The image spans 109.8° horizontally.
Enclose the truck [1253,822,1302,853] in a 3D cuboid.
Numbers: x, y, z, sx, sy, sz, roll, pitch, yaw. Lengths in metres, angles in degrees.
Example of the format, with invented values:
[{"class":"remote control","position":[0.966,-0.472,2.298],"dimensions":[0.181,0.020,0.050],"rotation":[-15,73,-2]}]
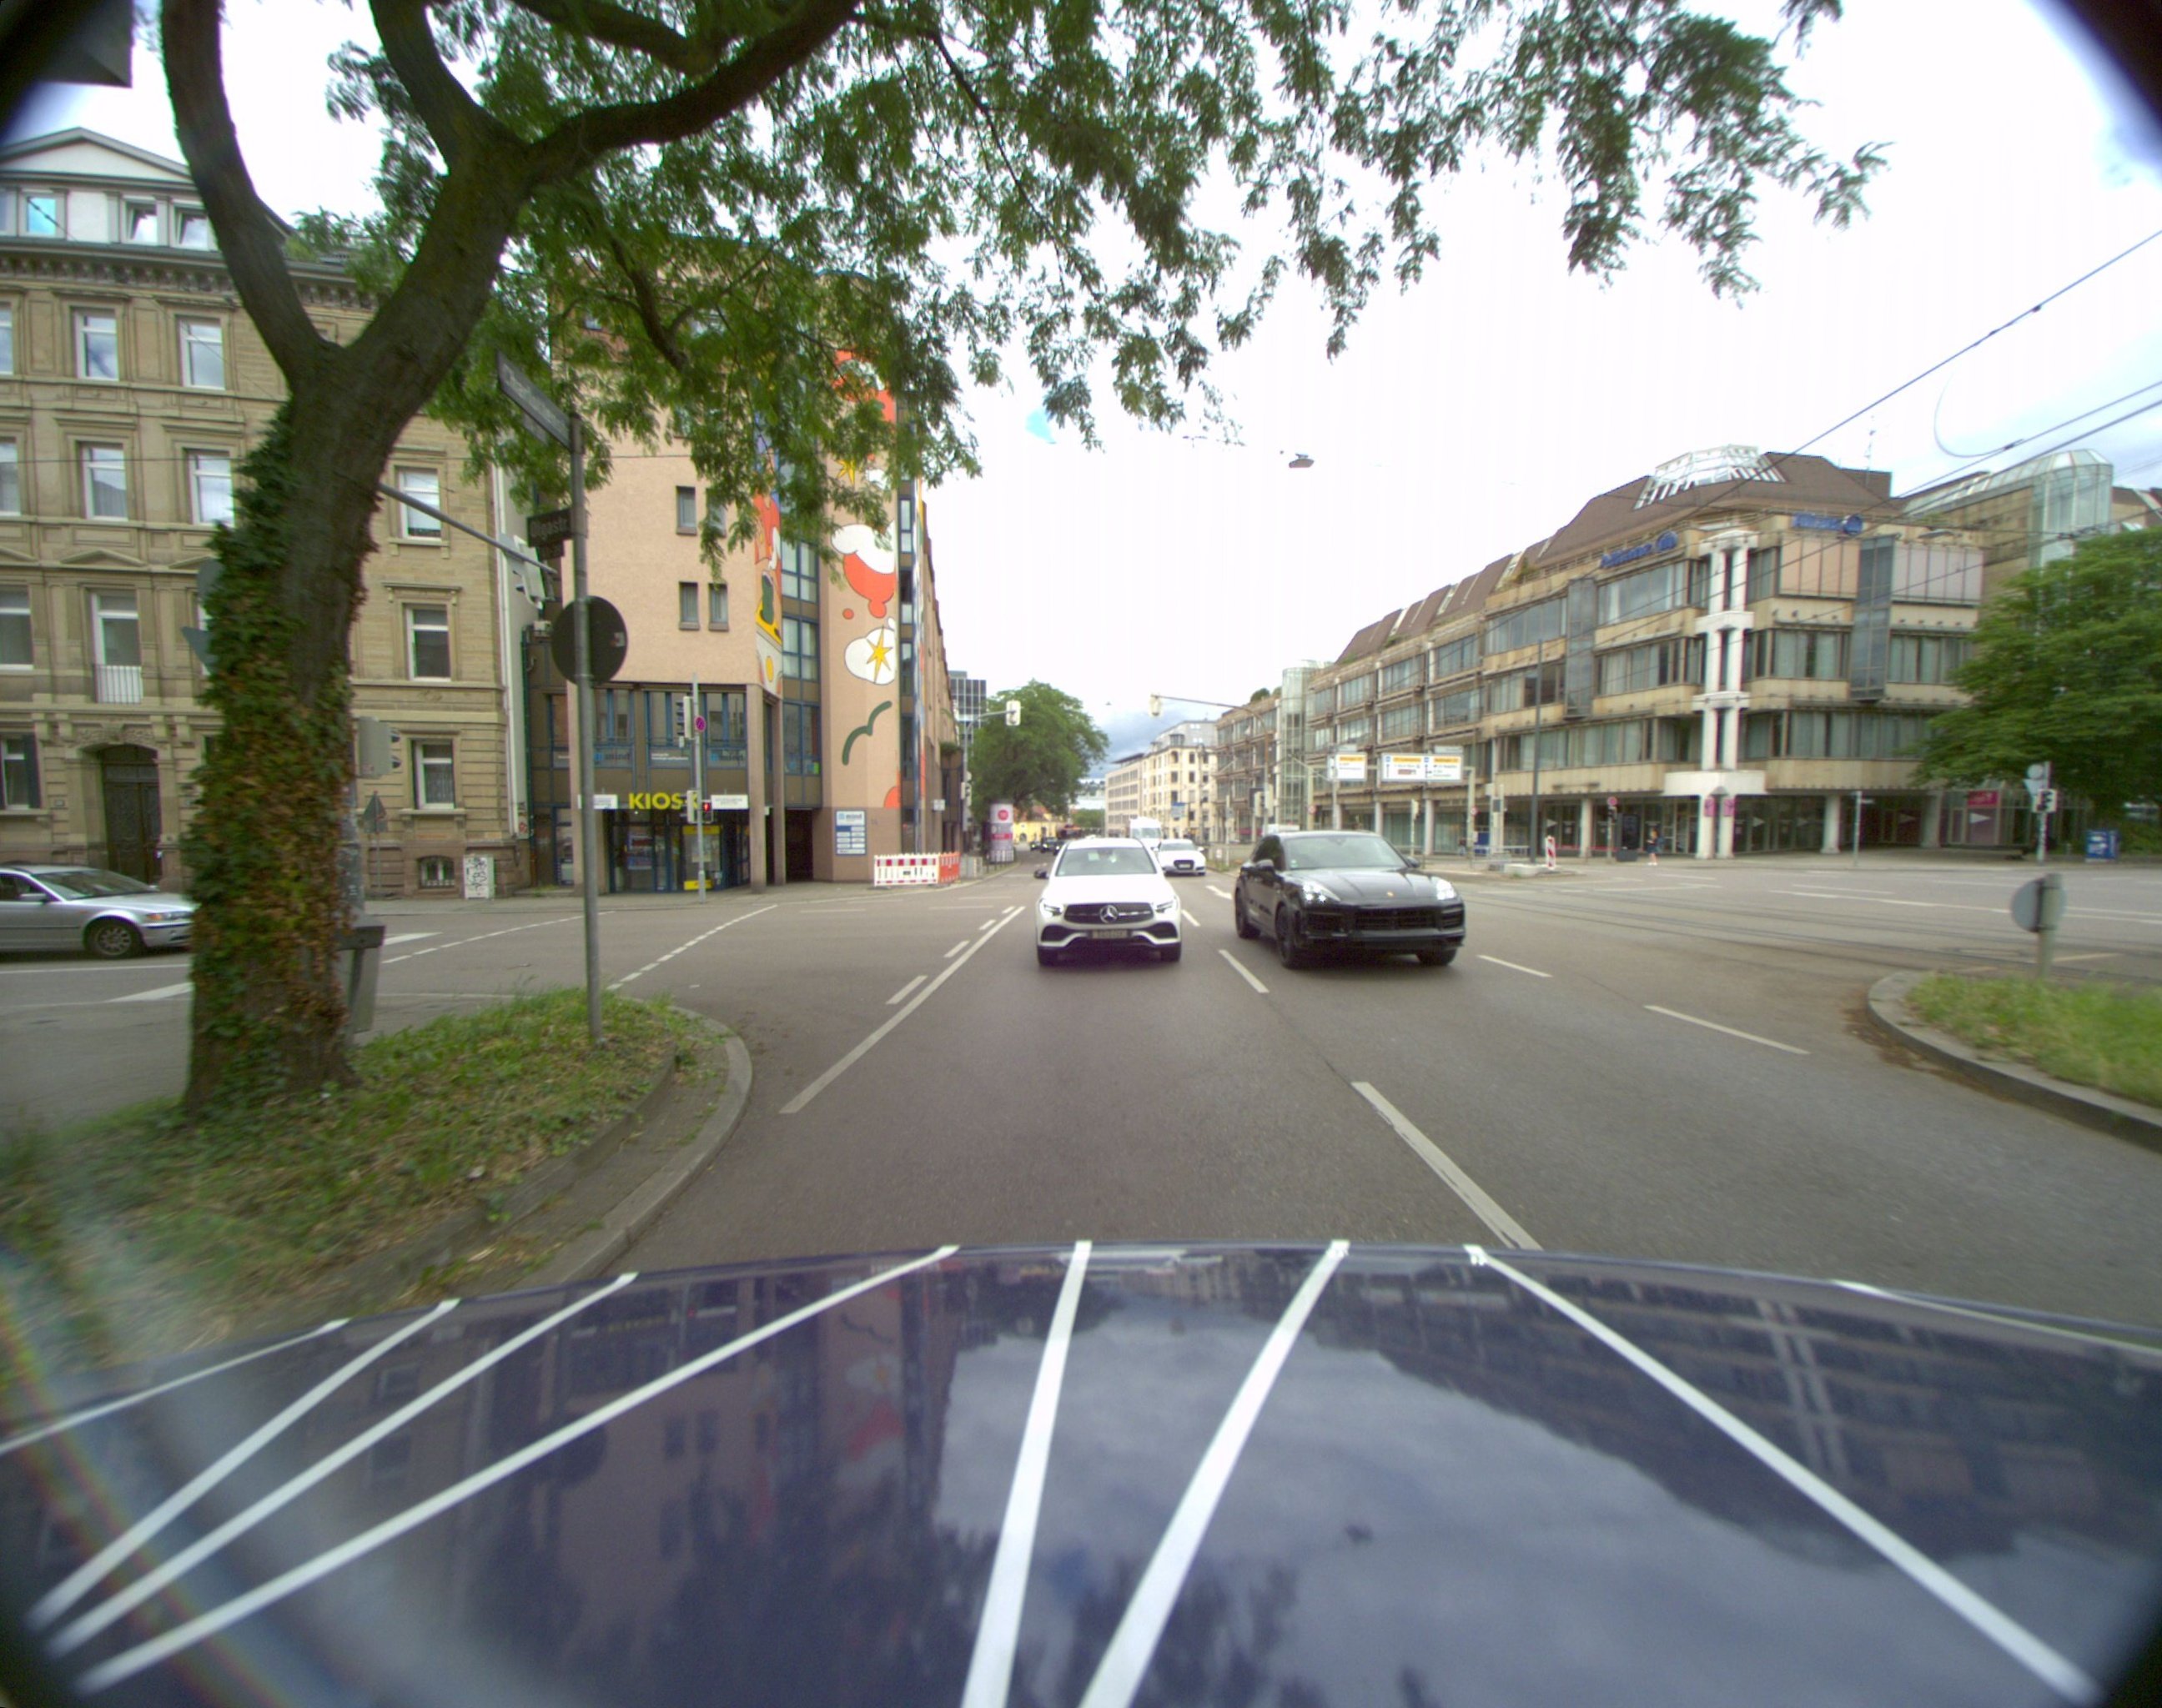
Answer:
[{"class":"truck","position":[20.565,-1.773,79.802],"dimensions":[2.274,3.059,7.366],"rotation":[1,2,-8]}]

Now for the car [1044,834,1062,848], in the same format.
[{"class":"car","position":[-3.172,-1.477,85.102],"dimensions":[1.950,1.522,3.997],"rotation":[-2,2,-3]}]

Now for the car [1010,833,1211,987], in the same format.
[{"class":"car","position":[0.165,0.556,10.313],"dimensions":[2.061,1.599,3.923],"rotation":[-2,2,-7]}]

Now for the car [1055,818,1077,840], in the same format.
[{"class":"car","position":[-2.126,-3.423,104.642],"dimensions":[2.504,2.793,5.723],"rotation":[-2,2,-6]}]

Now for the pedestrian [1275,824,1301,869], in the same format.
[{"class":"pedestrian","position":[8.060,-0.312,29.604],"dimensions":[0.794,1.712,0.772],"rotation":[-1,2,-1]}]

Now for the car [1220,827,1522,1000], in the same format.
[{"class":"car","position":[3.346,0.544,10.149],"dimensions":[2.088,1.665,5.351],"rotation":[-1,1,1]}]

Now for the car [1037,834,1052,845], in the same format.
[{"class":"car","position":[-5.026,-2.004,104.274],"dimensions":[1.950,1.522,3.997],"rotation":[-2,2,-3]}]

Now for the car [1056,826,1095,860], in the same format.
[{"class":"car","position":[-0.382,-0.814,52.576],"dimensions":[2.503,2.145,5.725],"rotation":[-2,2,0]}]

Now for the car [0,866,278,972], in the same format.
[{"class":"car","position":[-15.879,0.985,11.889],"dimensions":[4.162,1.420,1.852],"rotation":[-1,2,-12]}]

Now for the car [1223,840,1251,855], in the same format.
[{"class":"car","position":[16.688,-0.720,81.463],"dimensions":[1.662,1.543,4.531],"rotation":[-1,2,-7]}]

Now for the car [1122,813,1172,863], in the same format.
[{"class":"car","position":[3.857,-0.985,45.621],"dimensions":[2.282,2.744,5.937],"rotation":[-2,2,-1]}]

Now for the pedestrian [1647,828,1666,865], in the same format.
[{"class":"pedestrian","position":[28.385,-0.370,37.473],"dimensions":[0.511,1.770,0.577],"rotation":[-1,2,2]}]

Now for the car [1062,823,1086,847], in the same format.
[{"class":"car","position":[-0.957,-2.448,96.940],"dimensions":[2.504,2.793,5.723],"rotation":[-2,2,-6]}]

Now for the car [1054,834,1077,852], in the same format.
[{"class":"car","position":[-1.466,-1.000,69.928],"dimensions":[1.950,1.522,3.997],"rotation":[-2,2,-3]}]

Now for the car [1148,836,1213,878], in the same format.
[{"class":"car","position":[4.015,0.078,31.378],"dimensions":[1.950,1.522,3.997],"rotation":[-2,2,-3]}]

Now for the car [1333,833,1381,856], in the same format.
[{"class":"car","position":[22.626,-0.852,62.490],"dimensions":[1.679,1.749,4.777],"rotation":[-2,2,-7]}]

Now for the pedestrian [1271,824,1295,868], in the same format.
[{"class":"pedestrian","position":[8.086,-0.332,30.444],"dimensions":[0.766,1.712,0.637],"rotation":[-1,2,-1]}]

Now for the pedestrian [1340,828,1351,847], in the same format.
[{"class":"pedestrian","position":[25.392,-1.590,73.024],"dimensions":[0.732,1.801,0.739],"rotation":[-2,3,-6]}]

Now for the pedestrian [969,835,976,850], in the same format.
[{"class":"pedestrian","position":[-12.355,-1.298,86.447],"dimensions":[0.711,1.701,0.687],"rotation":[-1,1,-1]}]
